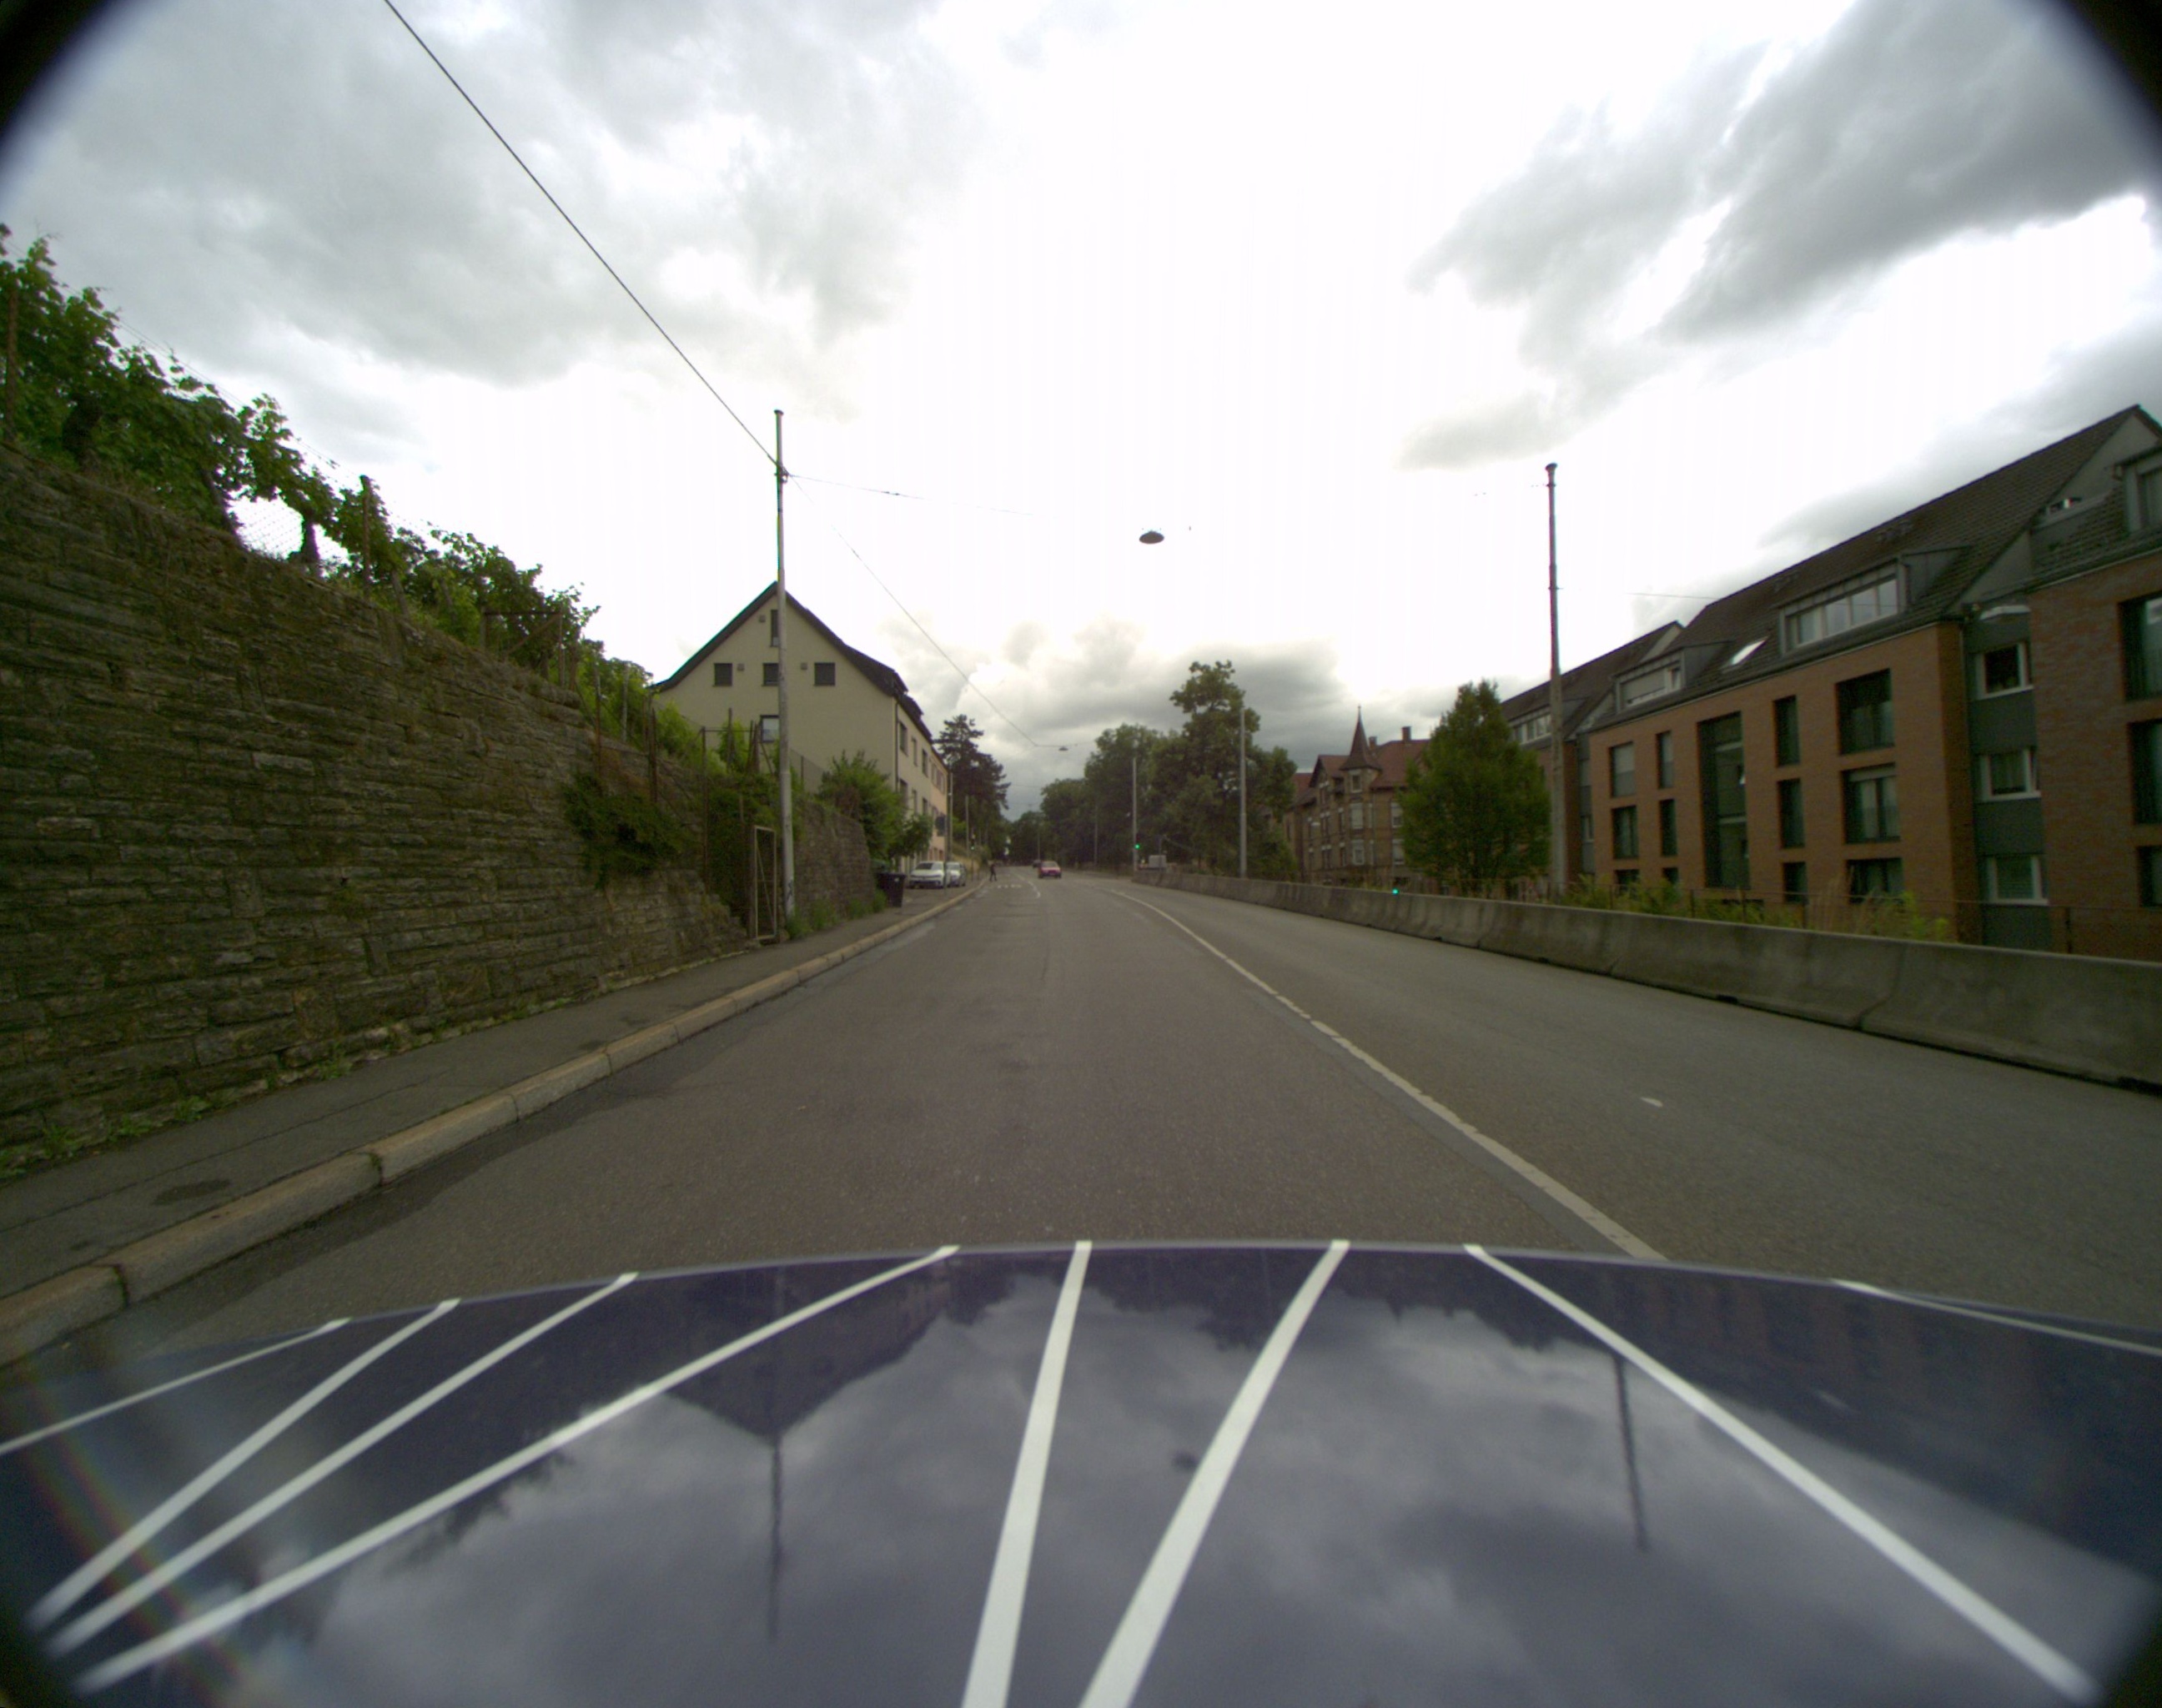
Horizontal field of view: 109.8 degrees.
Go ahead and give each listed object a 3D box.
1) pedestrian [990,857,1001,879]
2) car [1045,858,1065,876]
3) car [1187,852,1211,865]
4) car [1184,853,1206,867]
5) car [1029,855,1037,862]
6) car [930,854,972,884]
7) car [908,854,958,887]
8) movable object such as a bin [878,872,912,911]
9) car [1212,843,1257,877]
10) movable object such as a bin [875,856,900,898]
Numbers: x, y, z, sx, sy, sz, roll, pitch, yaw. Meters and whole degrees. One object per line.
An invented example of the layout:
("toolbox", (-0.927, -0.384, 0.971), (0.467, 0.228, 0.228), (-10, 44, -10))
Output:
("pedestrian", (-6.621, 1.076, 58.878), (0.735, 1.702, 0.696), (-1, 1, 2))
("car", (-2.204, 1.120, 63.545), (1.646, 1.429, 3.999), (-1, -1, -3))
("car", (12.667, 0.469, 81.751), (1.999, 1.346, 4.000), (0, 0, 0))
("car", (13.856, 0.714, 92.450), (1.999, 1.543, 4.000), (-1, 0, 0))
("car", (-13.257, 1.342, 209.653), (1.999, 1.838, 3.999), (-1, 0, -3))
("car", (-7.563, 0.852, 44.621), (1.732, 1.566, 4.248), (-2, 1, -1))
("car", (-7.638, 0.809, 39.637), (1.799, 1.566, 4.054), (-2, 1, -1))
("movable object such as a bin", (-5.658, 1.123, 23.107), (0.811, 1.120, 0.874), (-1, 0, -2))
("car", (12.352, 0.407, 61.557), (2.565, 2.567, 5.735), (-2, 1, 2))
("movable object such as a bin", (-7.326, 0.867, 28.835), (0.753, 1.533, 1.064), (-1, 0, -8))
